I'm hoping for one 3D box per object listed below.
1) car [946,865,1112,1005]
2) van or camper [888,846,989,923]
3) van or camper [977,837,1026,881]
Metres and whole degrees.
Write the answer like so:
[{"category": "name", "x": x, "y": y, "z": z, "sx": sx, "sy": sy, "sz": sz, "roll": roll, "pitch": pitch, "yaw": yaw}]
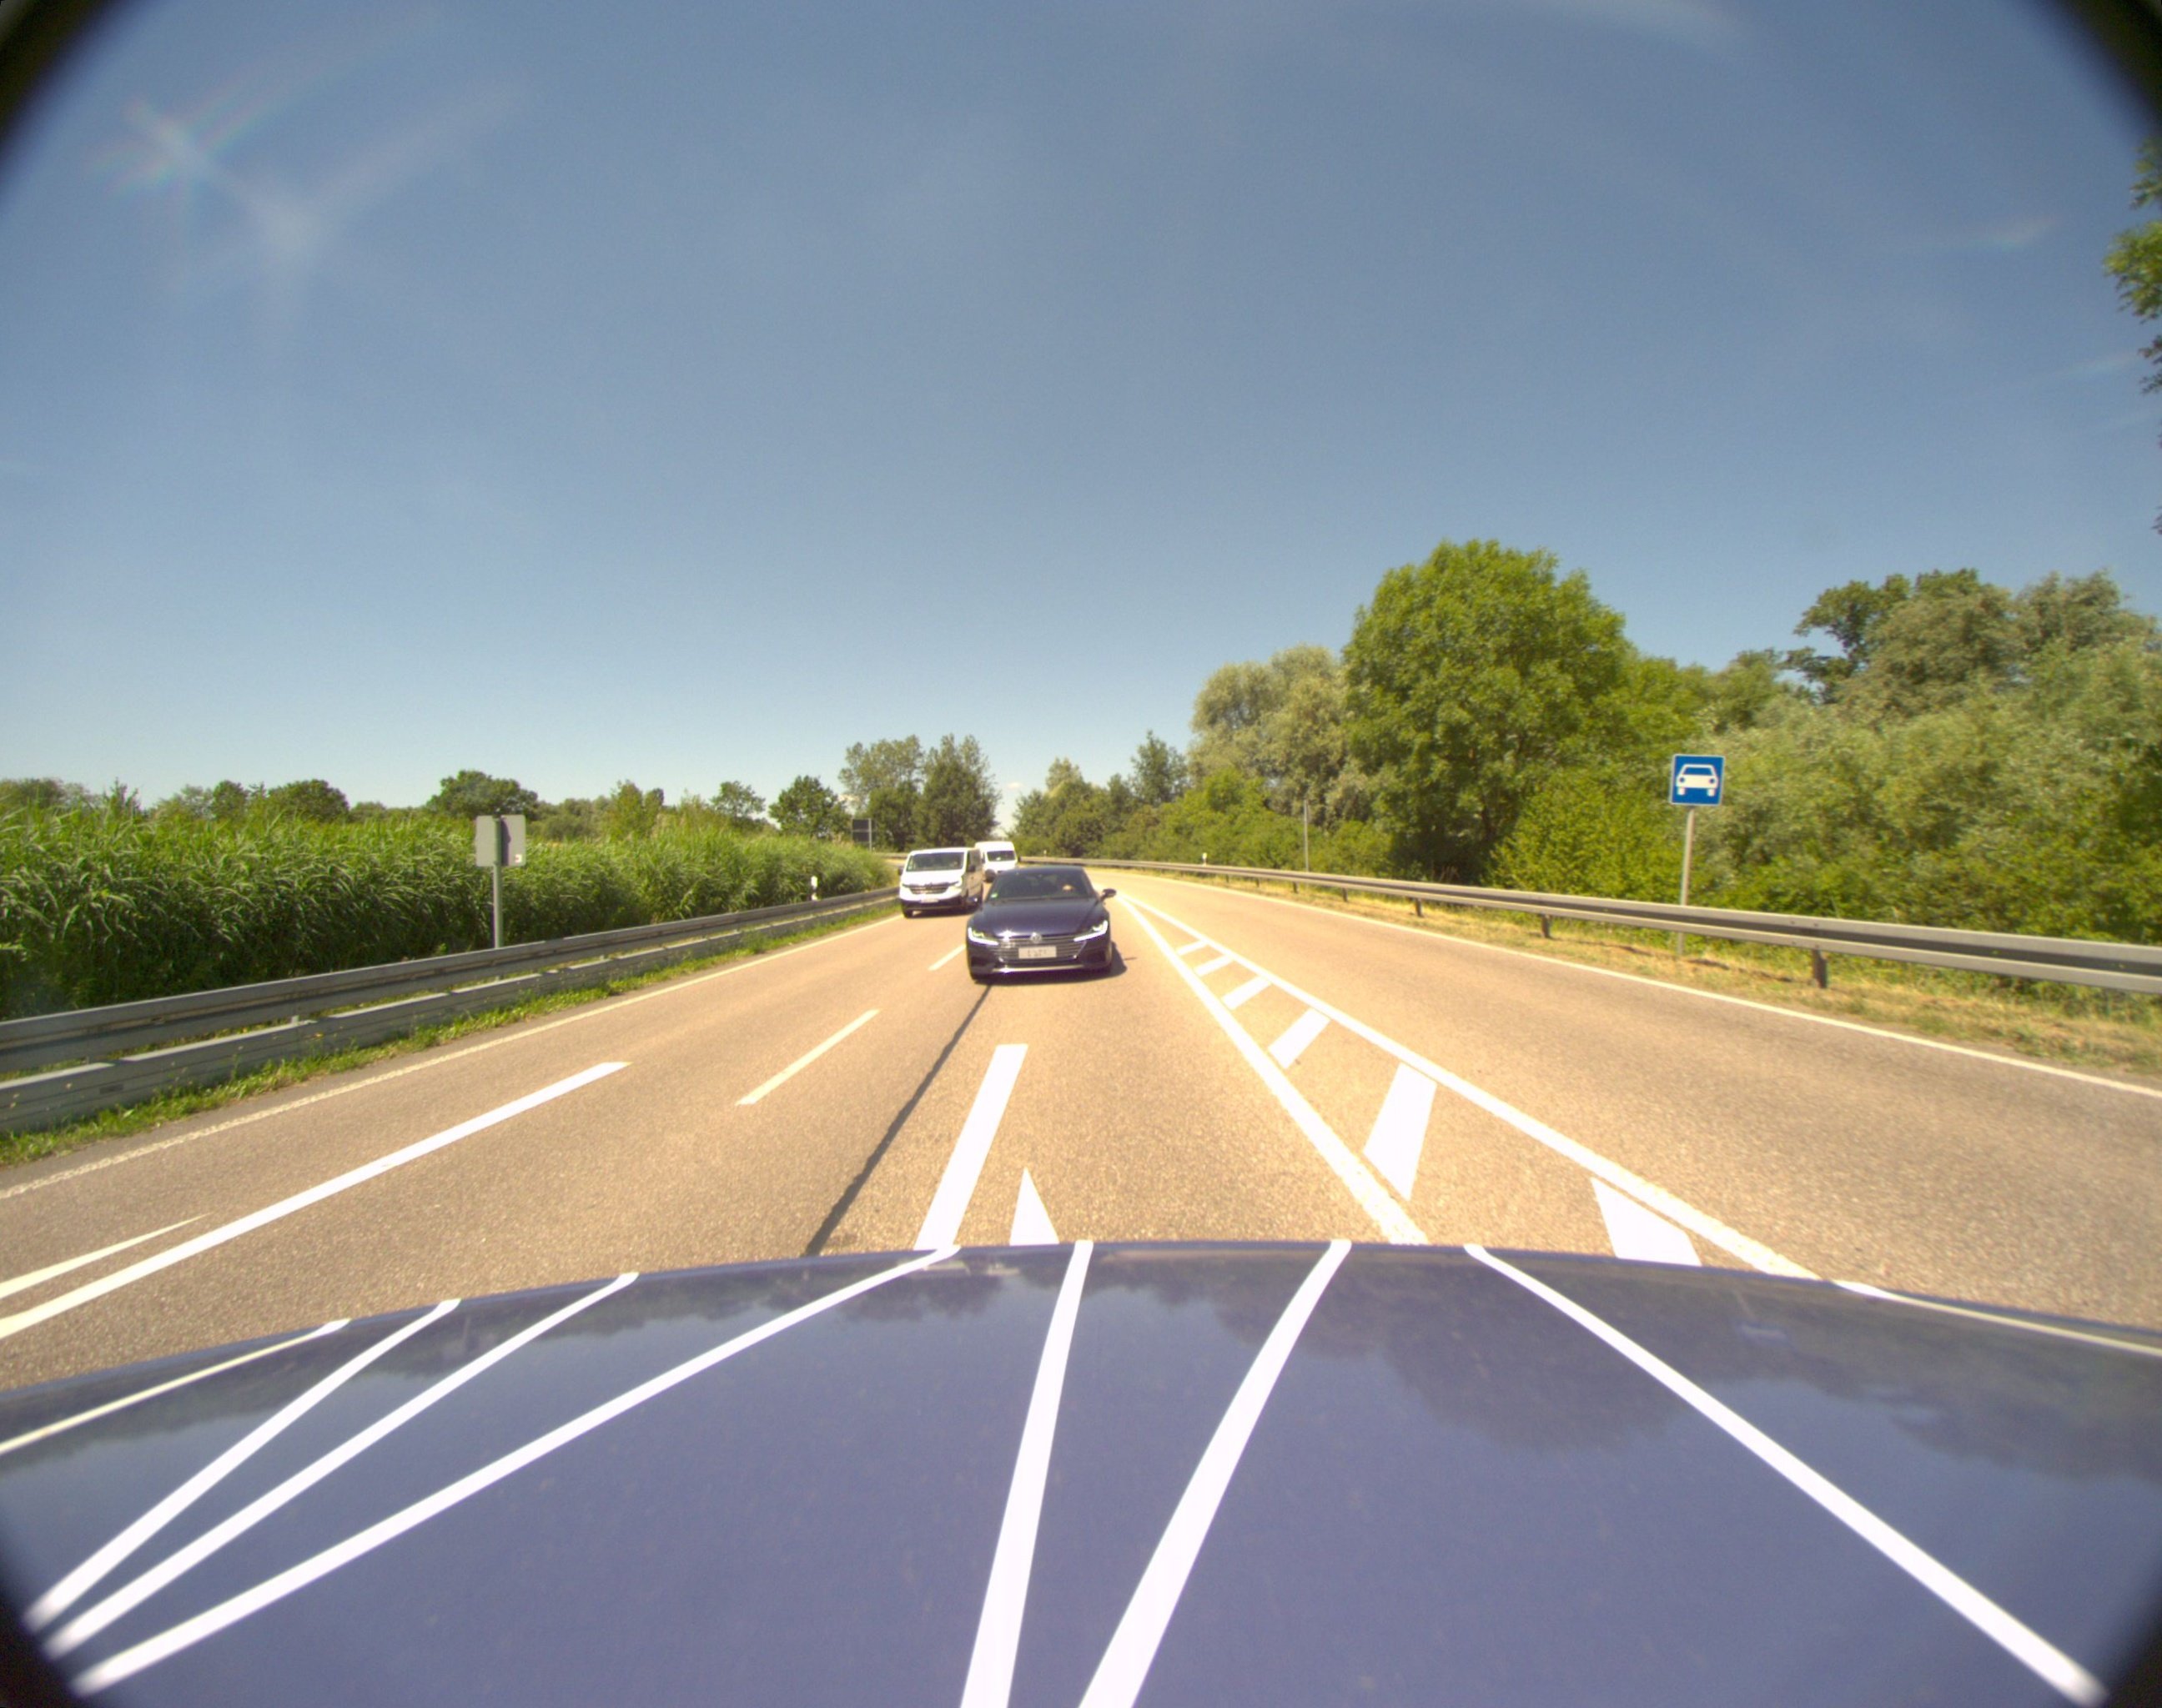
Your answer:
[{"category": "car", "x": -0.568, "y": 0.968, "z": 10.985, "sx": 1.843, "sy": 1.422, "sz": 4.533, "roll": -3, "pitch": 0, "yaw": 1}, {"category": "van or camper", "x": -4.251, "y": 0.815, "z": 23.579, "sx": 2.008, "sy": 2.019, "sz": 5.447, "roll": -3, "pitch": 0, "yaw": 0}, {"category": "van or camper", "x": -5.123, "y": 0.282, "z": 48.104, "sx": 2.076, "sy": 2.540, "sz": 6.039, "roll": -2, "pitch": 0, "yaw": -15}]
